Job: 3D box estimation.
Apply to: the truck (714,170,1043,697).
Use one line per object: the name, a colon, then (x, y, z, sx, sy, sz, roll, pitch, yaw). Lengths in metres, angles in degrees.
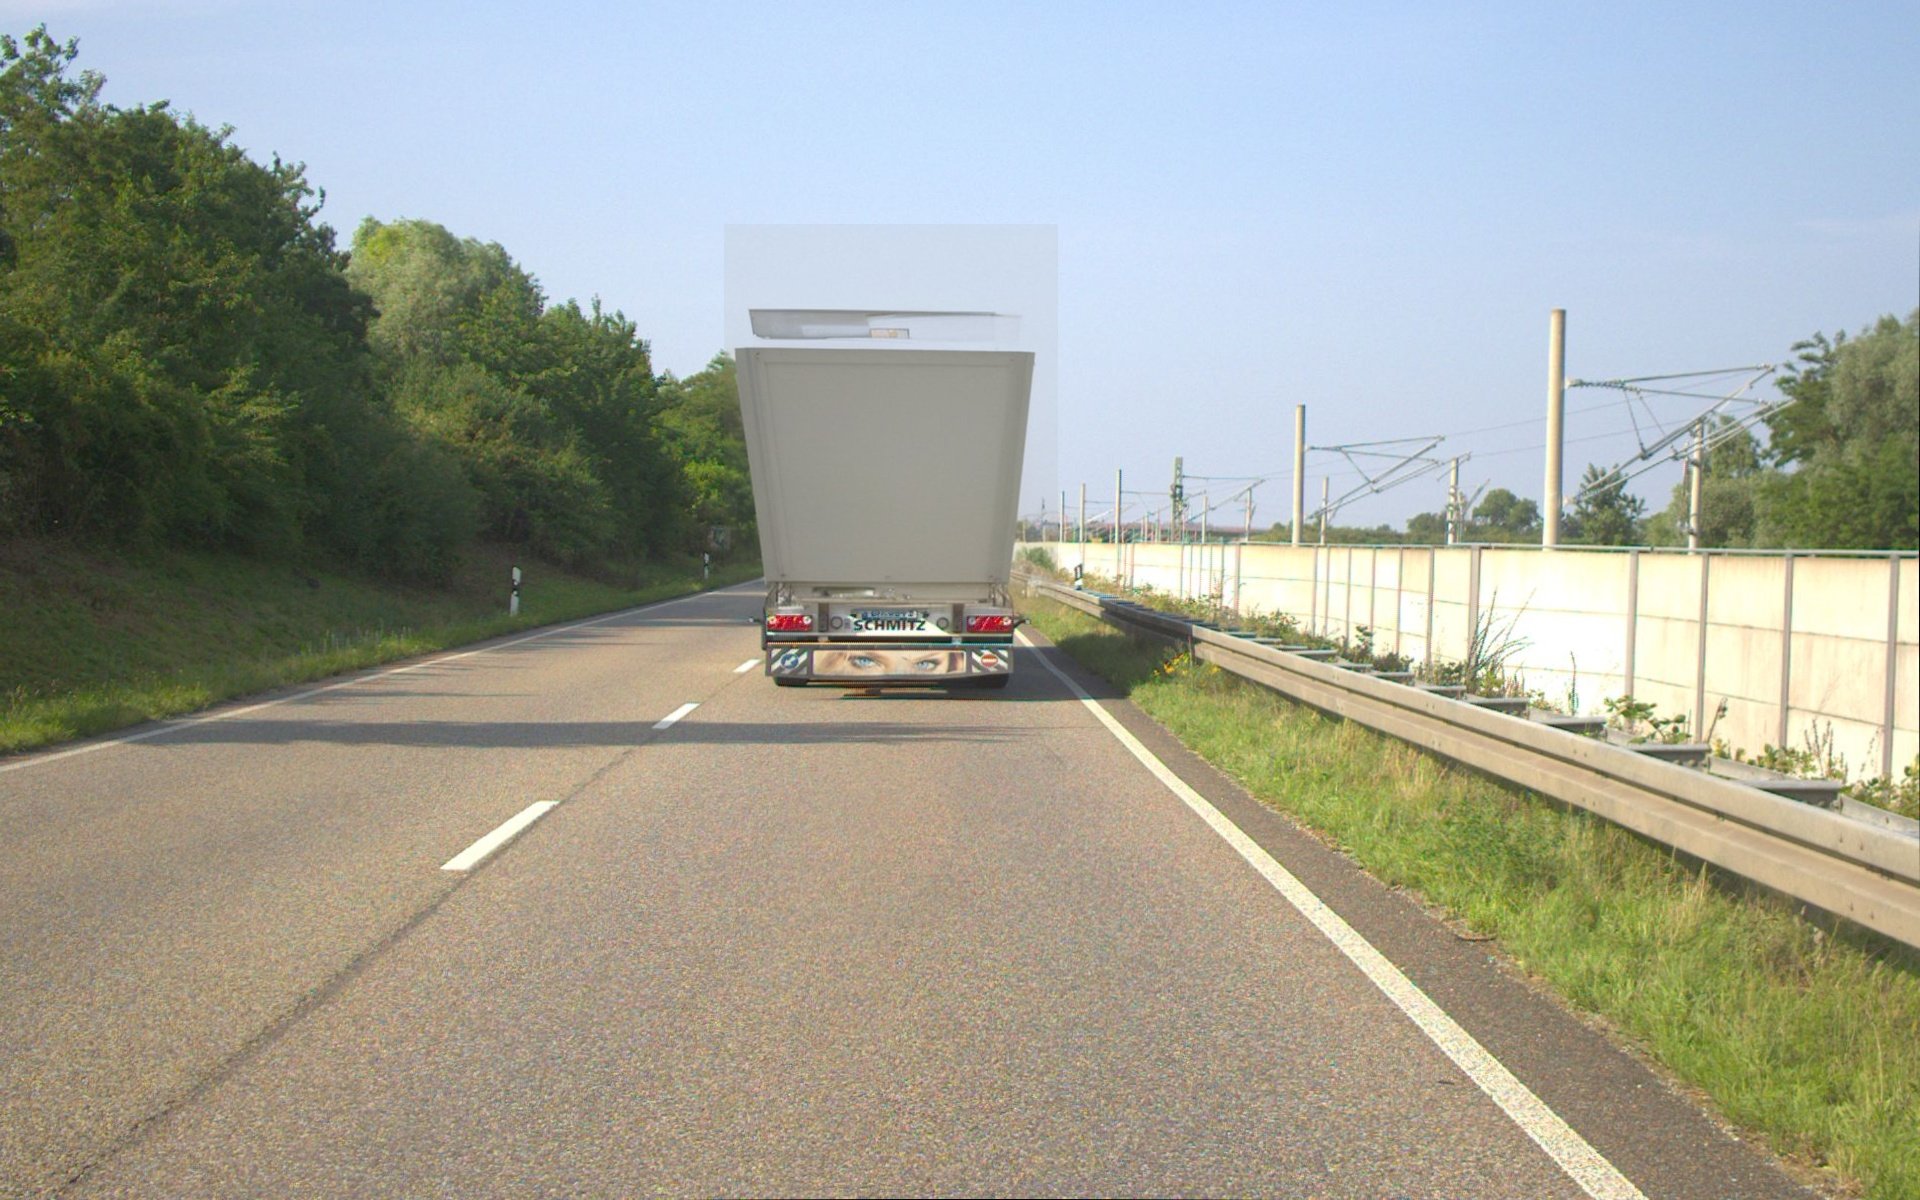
truck: (-0.937, -1.686, 38.086, 3.033, 4.903, 11.685, 1, 1, -2)
